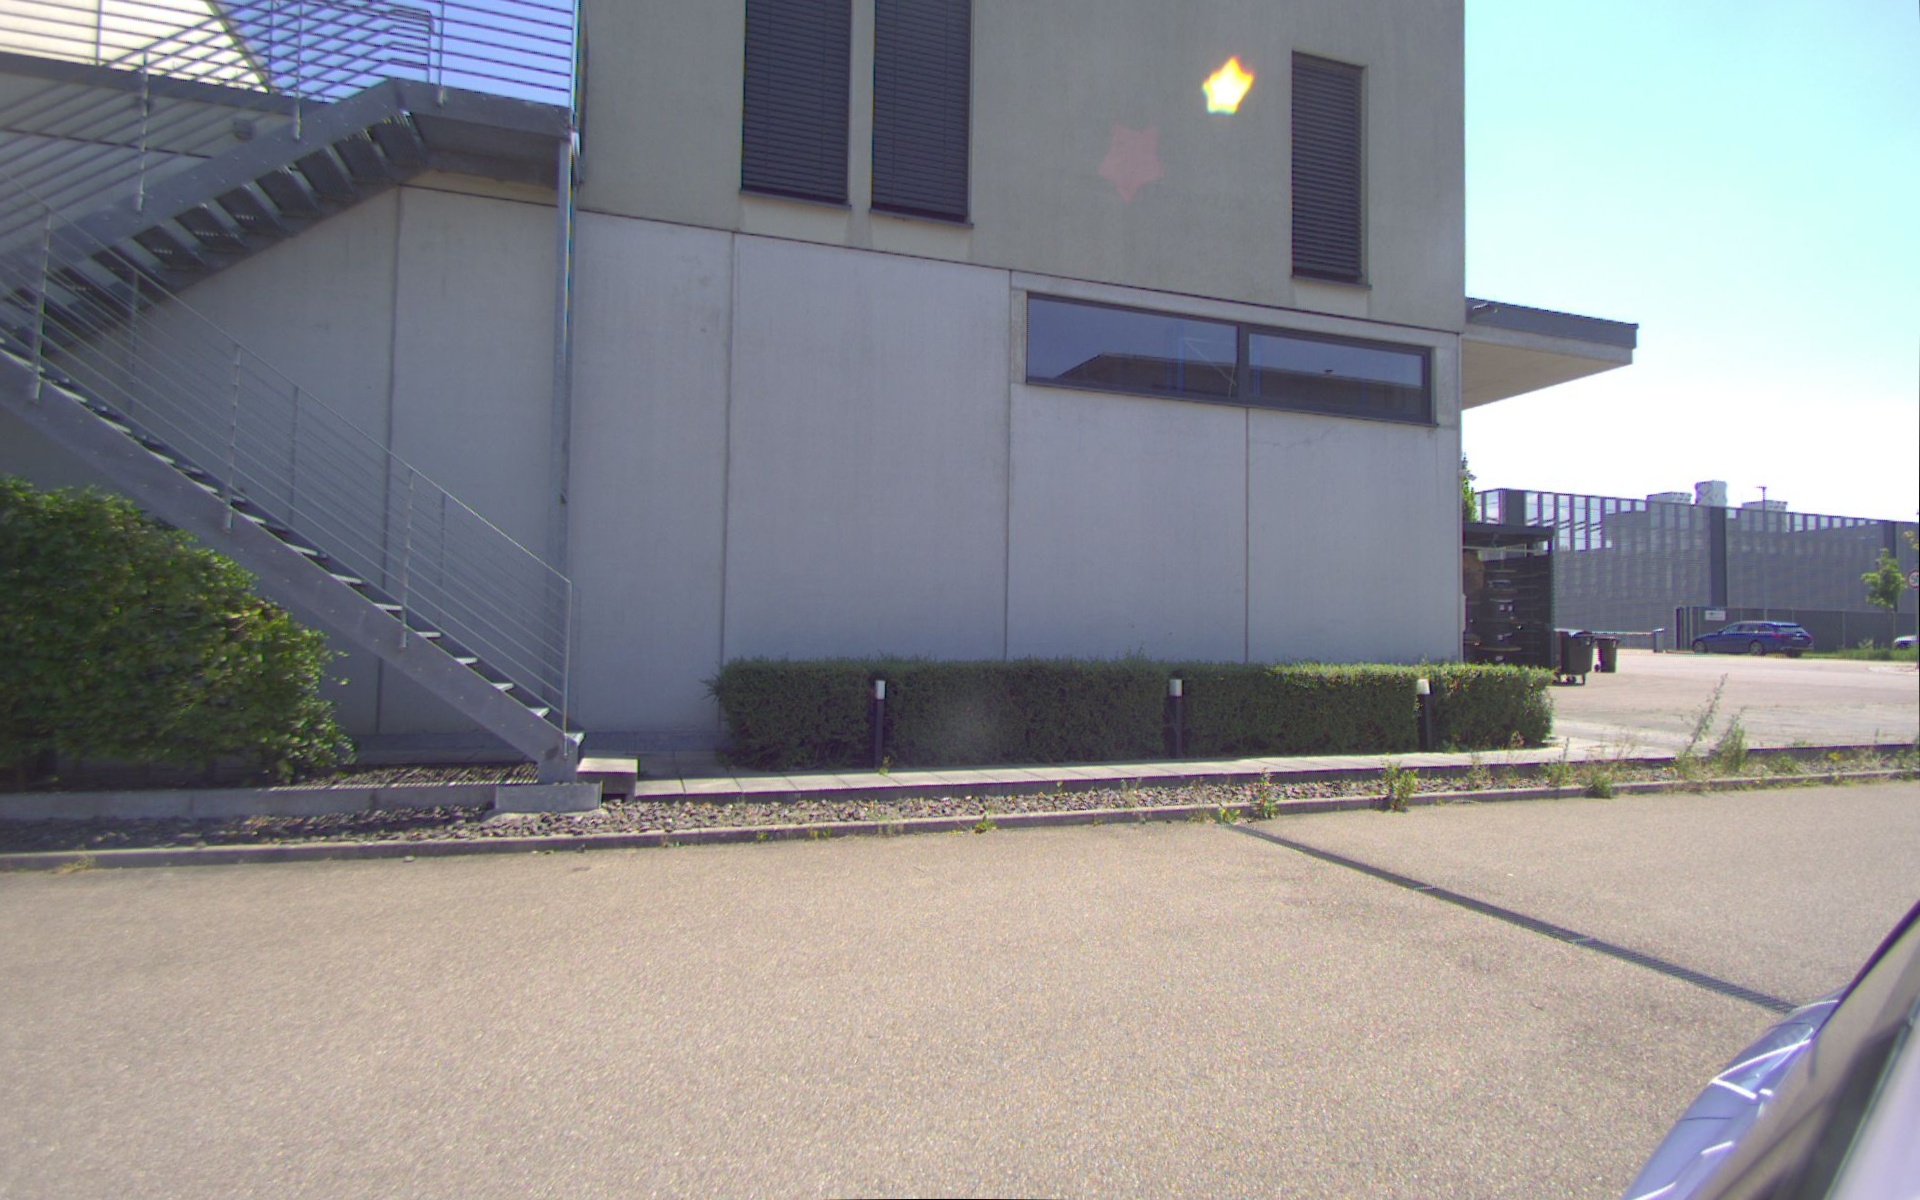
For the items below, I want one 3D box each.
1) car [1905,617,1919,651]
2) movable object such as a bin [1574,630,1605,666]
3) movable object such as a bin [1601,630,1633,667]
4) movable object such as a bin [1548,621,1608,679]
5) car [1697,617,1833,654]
[{"bbox_3d":[43.045,1.496,42.862,1.746,1.494,4.416,1,-1,-3],"label":"car"},{"bbox_3d":[16.807,1.275,27.013,0.538,0.929,0.584,1,-1,-43],"label":"movable object such as a bin"},{"bbox_3d":[17.250,1.261,26.556,0.538,0.929,0.584,1,-1,-43],"label":"movable object such as a bin"},{"bbox_3d":[14.116,1.131,23.131,0.785,1.265,0.878,0,-1,-10],"label":"movable object such as a bin"},{"bbox_3d":[33.473,1.442,42.271,1.822,1.428,4.450,1,-1,-6],"label":"car"}]
